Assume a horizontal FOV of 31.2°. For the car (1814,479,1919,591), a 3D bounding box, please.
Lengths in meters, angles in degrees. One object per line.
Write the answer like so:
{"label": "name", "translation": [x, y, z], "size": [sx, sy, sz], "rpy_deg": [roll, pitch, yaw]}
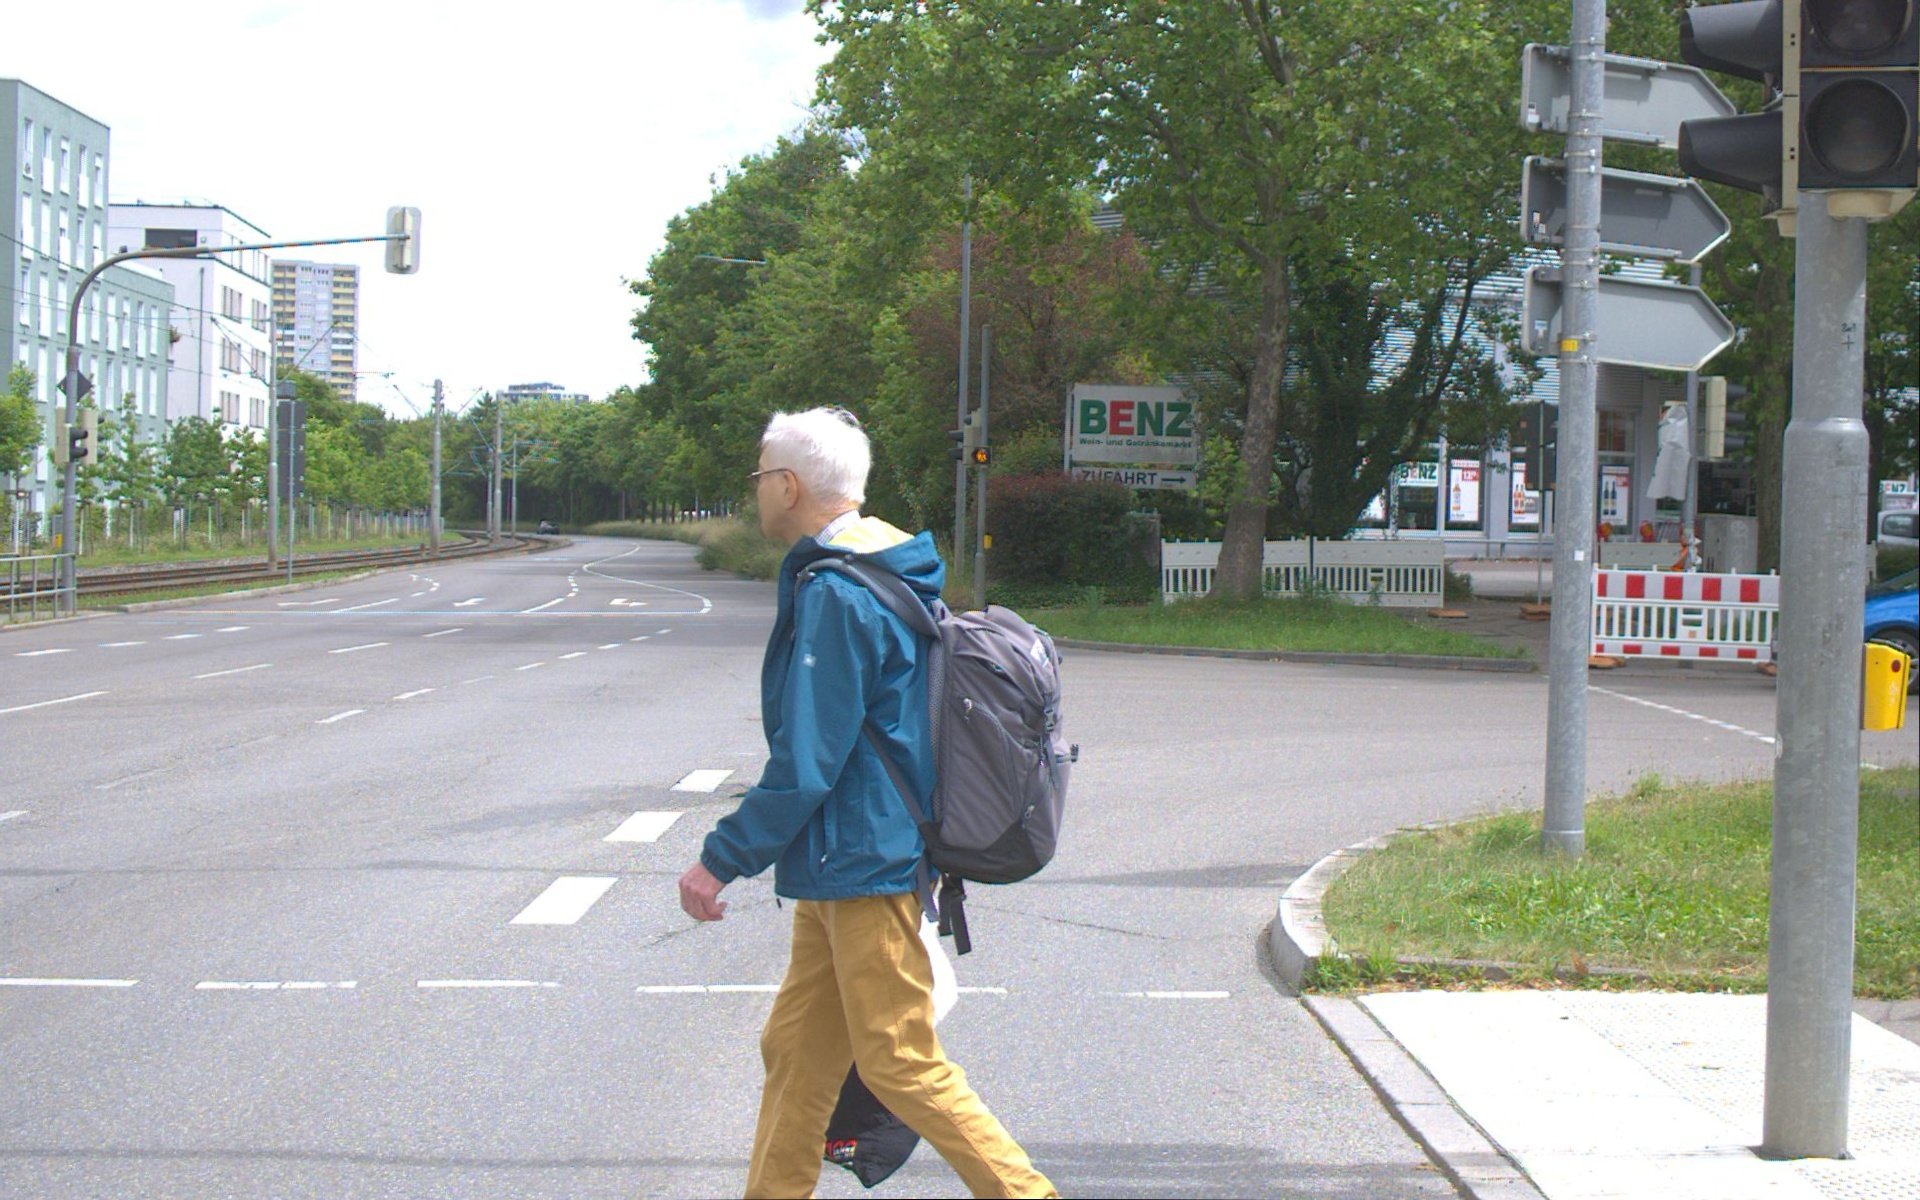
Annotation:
{"label": "car", "translation": [17.741, -1.180, 62.562], "size": [1.993, 2.007, 4.000], "rpy_deg": [0, 2, -32]}

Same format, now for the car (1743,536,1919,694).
{"label": "car", "translation": [10.150, 0.142, 33.628], "size": [4.476, 1.481, 1.989], "rpy_deg": [1, 1, -1]}

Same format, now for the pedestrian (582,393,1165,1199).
{"label": "pedestrian", "translation": [-0.135, 0.505, 6.672], "size": [1.010, 1.768, 0.948], "rpy_deg": [1, 1, 6]}
